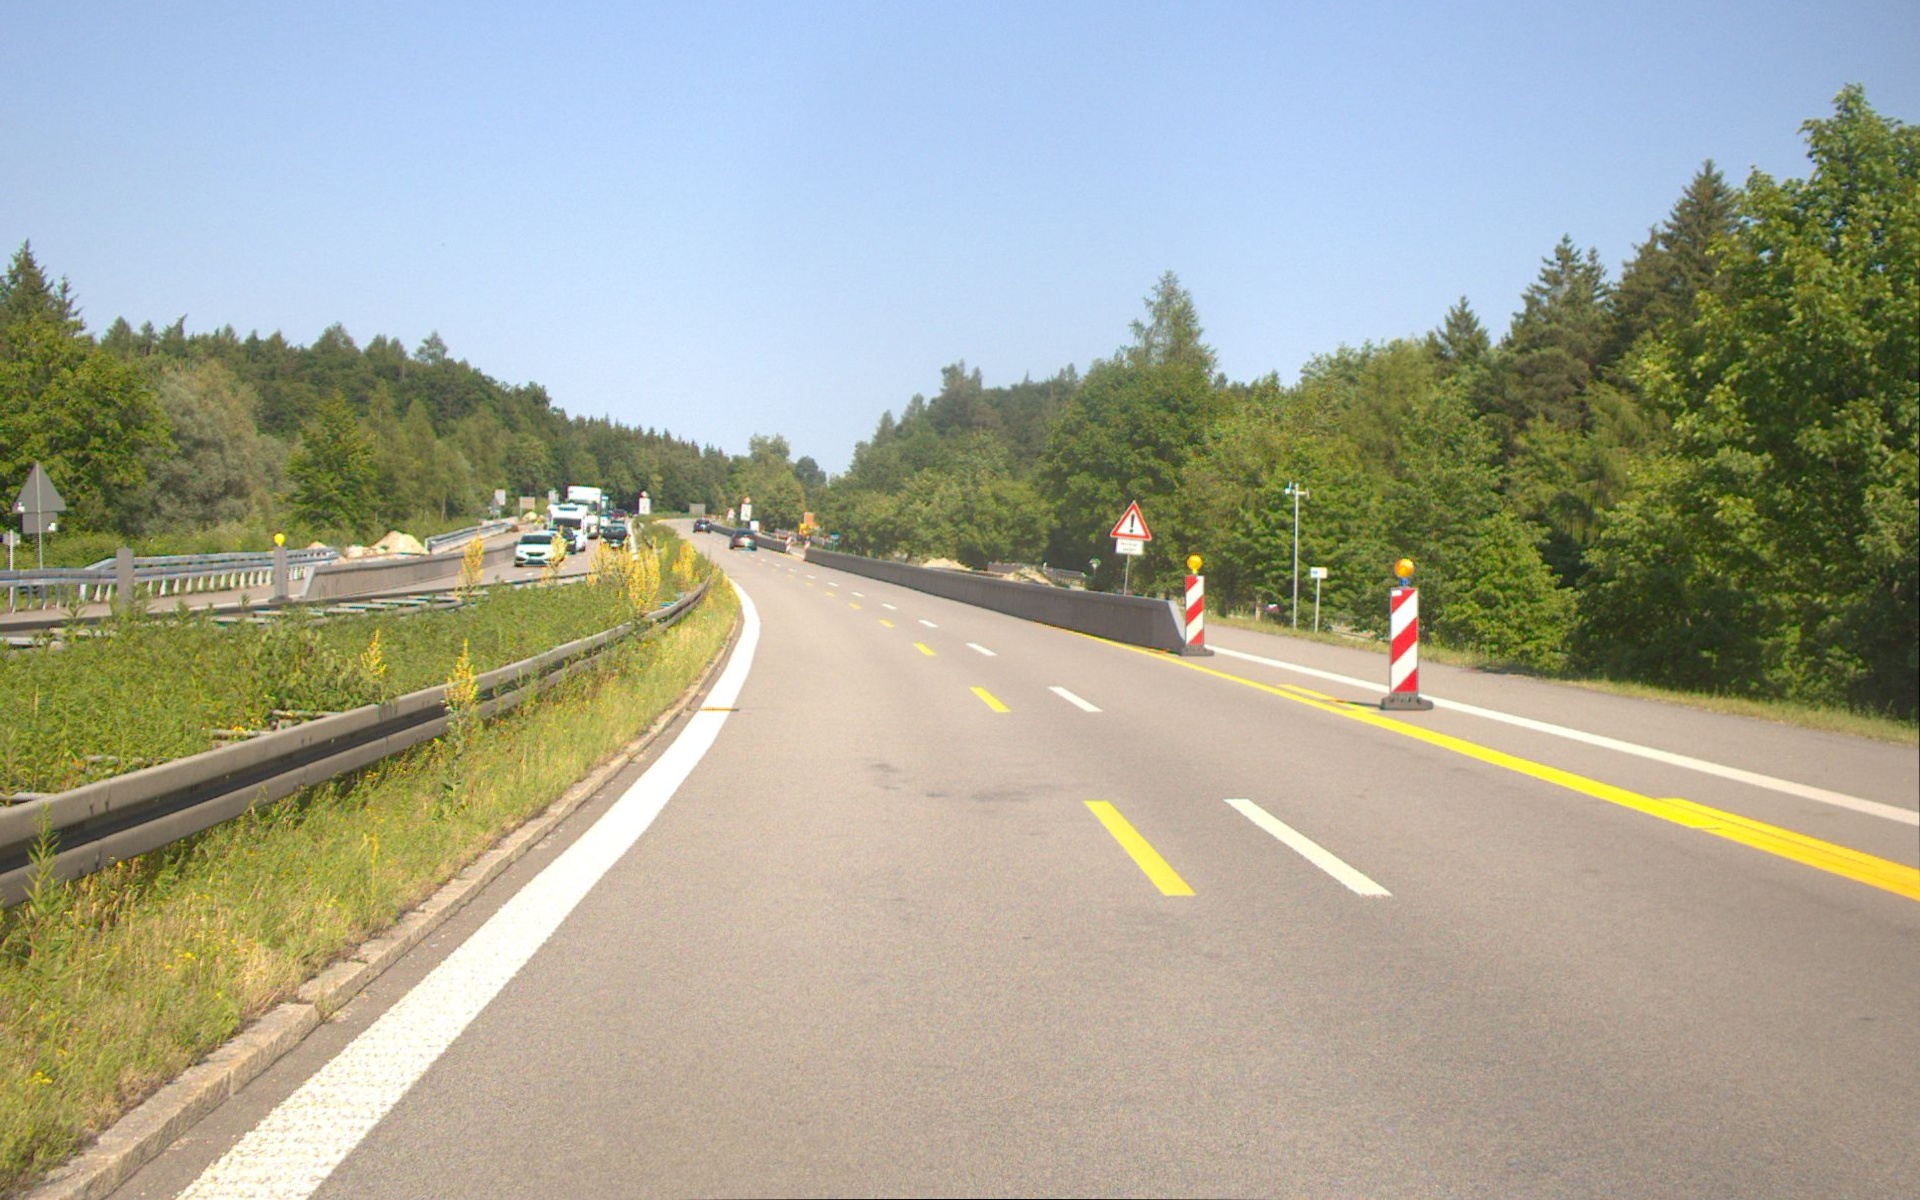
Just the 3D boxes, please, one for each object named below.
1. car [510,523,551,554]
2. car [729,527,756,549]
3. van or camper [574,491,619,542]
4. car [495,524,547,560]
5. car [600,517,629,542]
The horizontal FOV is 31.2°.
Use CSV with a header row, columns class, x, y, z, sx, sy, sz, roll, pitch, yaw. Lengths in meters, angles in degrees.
class,x,y,z,sx,sy,sz,roll,pitch,yaw
car,-20.323,-2.925,162.759,1.701,1.427,4.957,0,1,-5
car,-15.257,-4.359,241.156,1.743,1.461,4.295,2,1,-5
van or camper,-21.875,-5.050,207.091,2.405,2.940,7.524,2,1,-4
car,-18.399,-2.432,144.153,1.883,1.427,4.985,1,1,-5
car,-21.830,-4.459,217.422,1.741,1.525,4.001,0,1,-4
